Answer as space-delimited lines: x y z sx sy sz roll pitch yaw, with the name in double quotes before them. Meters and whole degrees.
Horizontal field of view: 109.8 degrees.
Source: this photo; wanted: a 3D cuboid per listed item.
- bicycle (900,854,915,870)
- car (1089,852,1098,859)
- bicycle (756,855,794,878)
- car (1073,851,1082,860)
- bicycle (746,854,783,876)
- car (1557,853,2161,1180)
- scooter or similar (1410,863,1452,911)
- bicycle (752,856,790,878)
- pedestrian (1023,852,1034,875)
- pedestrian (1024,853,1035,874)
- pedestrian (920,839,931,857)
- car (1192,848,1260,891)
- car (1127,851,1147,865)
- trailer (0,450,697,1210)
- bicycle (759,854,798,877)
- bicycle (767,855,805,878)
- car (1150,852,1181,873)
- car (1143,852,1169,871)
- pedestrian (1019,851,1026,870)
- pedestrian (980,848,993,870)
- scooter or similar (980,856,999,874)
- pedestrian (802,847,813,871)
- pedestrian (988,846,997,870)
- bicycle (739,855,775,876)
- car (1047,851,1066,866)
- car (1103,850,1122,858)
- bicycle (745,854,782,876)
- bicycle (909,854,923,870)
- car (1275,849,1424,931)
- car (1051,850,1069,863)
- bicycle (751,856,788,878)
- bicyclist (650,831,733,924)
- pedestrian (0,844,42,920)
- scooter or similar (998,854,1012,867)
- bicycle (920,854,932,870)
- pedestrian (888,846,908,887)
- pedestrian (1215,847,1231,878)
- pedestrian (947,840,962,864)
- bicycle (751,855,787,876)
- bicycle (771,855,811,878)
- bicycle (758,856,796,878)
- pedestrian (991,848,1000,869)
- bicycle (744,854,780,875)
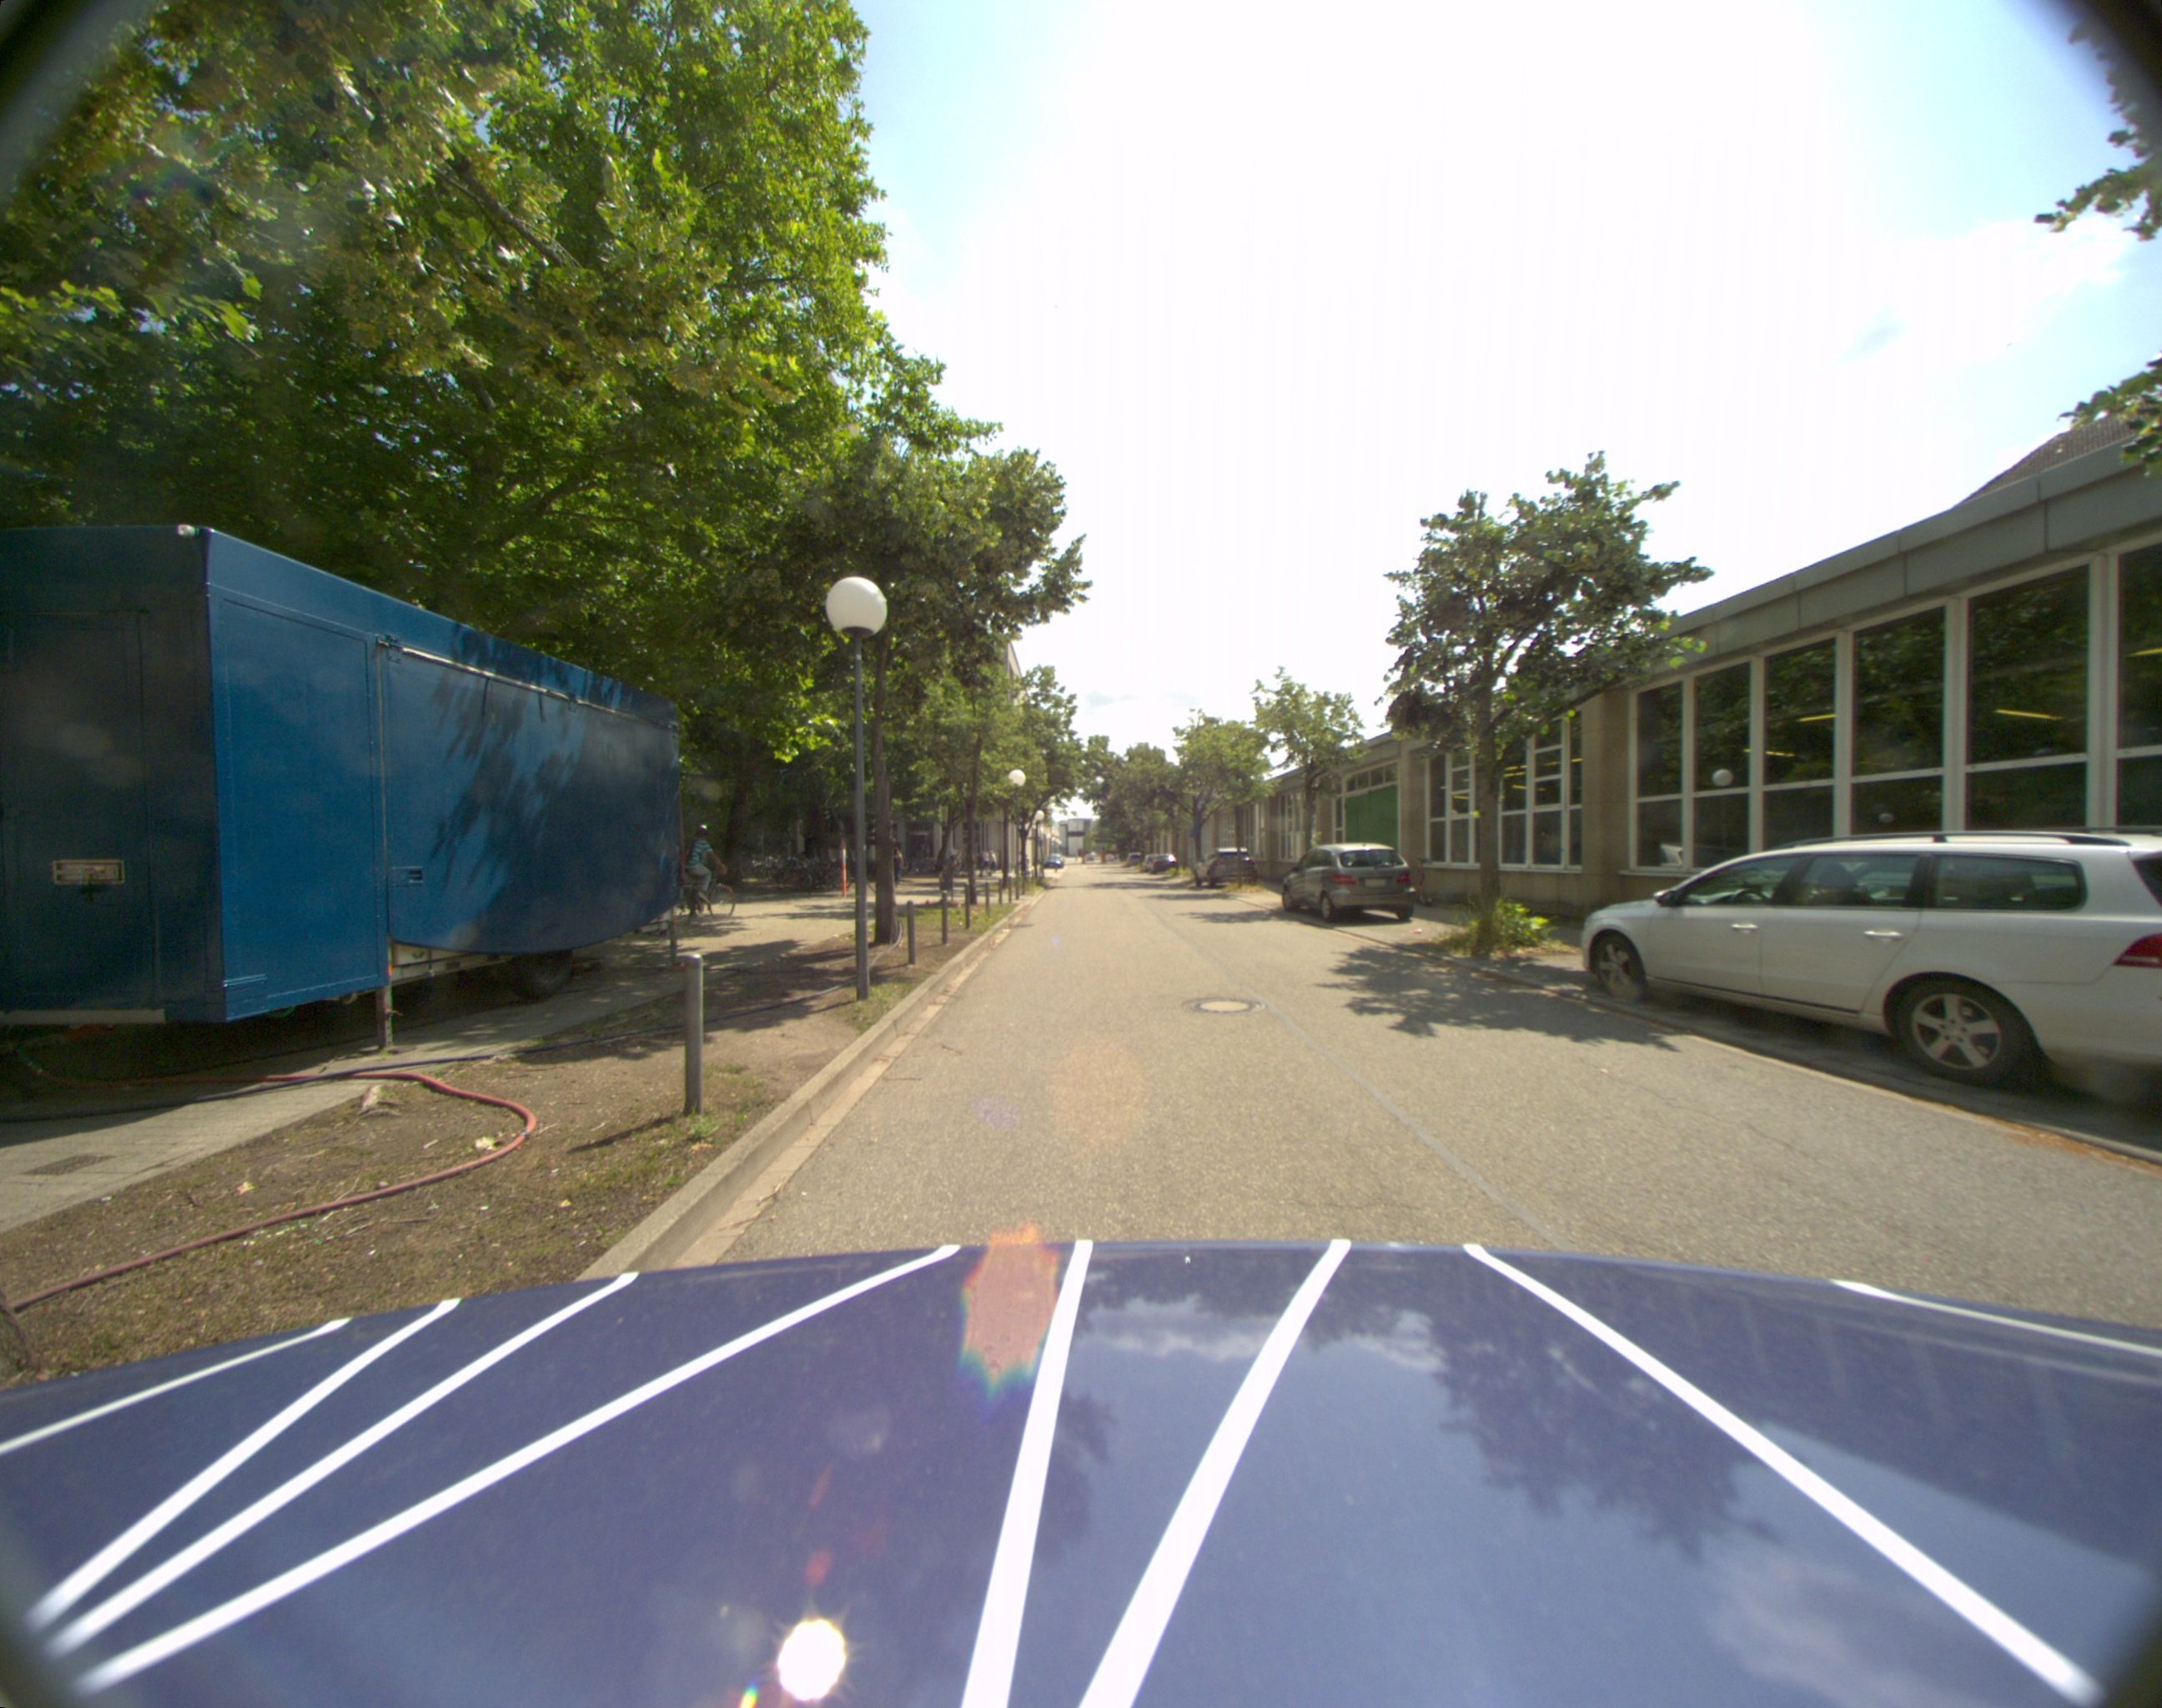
"bicycle" -12.095 0.558 53.072 0.481 1.079 1.697 1 -1 6
"car" 2.816 0.343 174.400 1.803 1.441 3.676 -3 0 0
"bicycle" -16.162 0.659 40.194 1.849 1.163 0.344 0 0 -36
"car" -0.777 0.345 178.033 1.998 2.002 4.000 3 0 1
"bicycle" -17.332 0.603 41.678 1.849 1.163 0.352 0 0 -36
"car" 5.894 0.766 5.641 1.730 1.448 4.582 -2 1 -2
"scooter or similar" 8.873 0.817 19.289 0.506 1.162 1.215 -2 1 1
"bicycle" -16.636 0.680 40.744 1.849 1.163 0.352 0 0 -36
"pedestrian" -4.057 0.722 58.984 0.797 1.718 0.601 0 1 -7
"pedestrian" -3.958 0.720 58.285 0.797 1.533 0.663 0 1 -7
"pedestrian" -14.805 -0.575 72.469 0.618 1.787 0.811 1 1 32
"car" 6.111 0.588 32.541 1.826 1.623 4.515 -2 1 -2
"car" 6.174 0.389 83.995 1.803 1.441 3.676 -3 0 -1
"trailer" -5.697 -0.124 5.531 2.698 3.034 6.256 1 0 -1
"bicycle" -15.767 0.606 39.635 1.849 1.163 0.344 0 0 -37
"bicycle" -15.144 0.618 39.049 0.344 1.163 1.849 0 0 43
"car" 6.196 0.595 56.119 1.729 1.427 4.289 -2 0 -1
"car" 6.046 0.603 61.732 1.634 1.441 3.752 -3 0 -1
"pedestrian" -5.247 0.568 67.971 0.614 1.719 0.542 0 1 1
"pedestrian" -7.653 0.400 61.333 0.811 1.787 0.618 -1 2 -43
"scooter or similar" -5.678 0.695 47.259 0.496 1.107 1.365 0 -1 25
"pedestrian" -19.275 0.352 53.469 0.428 1.693 0.944 -2 0 -4
"pedestrian" -7.021 0.313 60.282 0.687 1.880 0.686 -1 2 -3
"bicycle" -18.751 0.646 43.968 1.849 1.163 0.412 0 0 -39
"car" -2.516 0.485 79.307 1.843 1.390 3.878 1 -1 0
"car" 6.320 0.014 153.876 3.674 1.441 1.804 -3 1 -1
"bicycle" -17.545 0.596 41.964 1.849 1.163 0.352 0 0 -36
"bicycle" -11.601 0.582 53.357 0.481 1.079 1.516 1 -1 6
"car" 5.815 0.693 17.024 1.762 1.547 4.112 -2 1 -2
"car" -2.380 0.331 85.009 1.843 1.390 3.878 1 -1 0
"bicycle" -16.825 0.675 41.069 1.849 1.163 0.352 0 0 -36
"bicyclist" -6.944 0.392 13.602 0.651 1.558 1.197 3 1 14
"pedestrian" -22.913 0.581 16.242 0.717 1.572 0.670 3 0 27
"scooter or similar" -7.129 0.599 70.985 0.566 1.205 1.506 -2 3 -40
"bicycle" -10.841 0.588 53.231 0.460 1.079 1.474 1 -1 2
"pedestrian" -7.391 0.499 30.666 0.570 1.563 0.927 1 4 1
"pedestrian" 8.309 0.502 44.419 0.790 1.776 0.670 -2 0 3
"pedestrian" -9.256 -0.123 55.604 0.937 1.730 0.749 -1 1 -3
"bicycle" -17.805 0.645 43.345 1.849 1.163 0.387 0 0 -36
"bicycle" -14.490 0.614 38.000 1.848 1.163 0.344 0 0 -34
"bicycle" -15.964 0.665 39.920 1.849 1.163 0.344 0 0 -36
"pedestrian" -6.896 0.366 61.364 0.614 1.719 0.542 0 1 1
"bicycle" -18.278 0.598 43.558 1.849 1.163 0.387 0 0 -39
